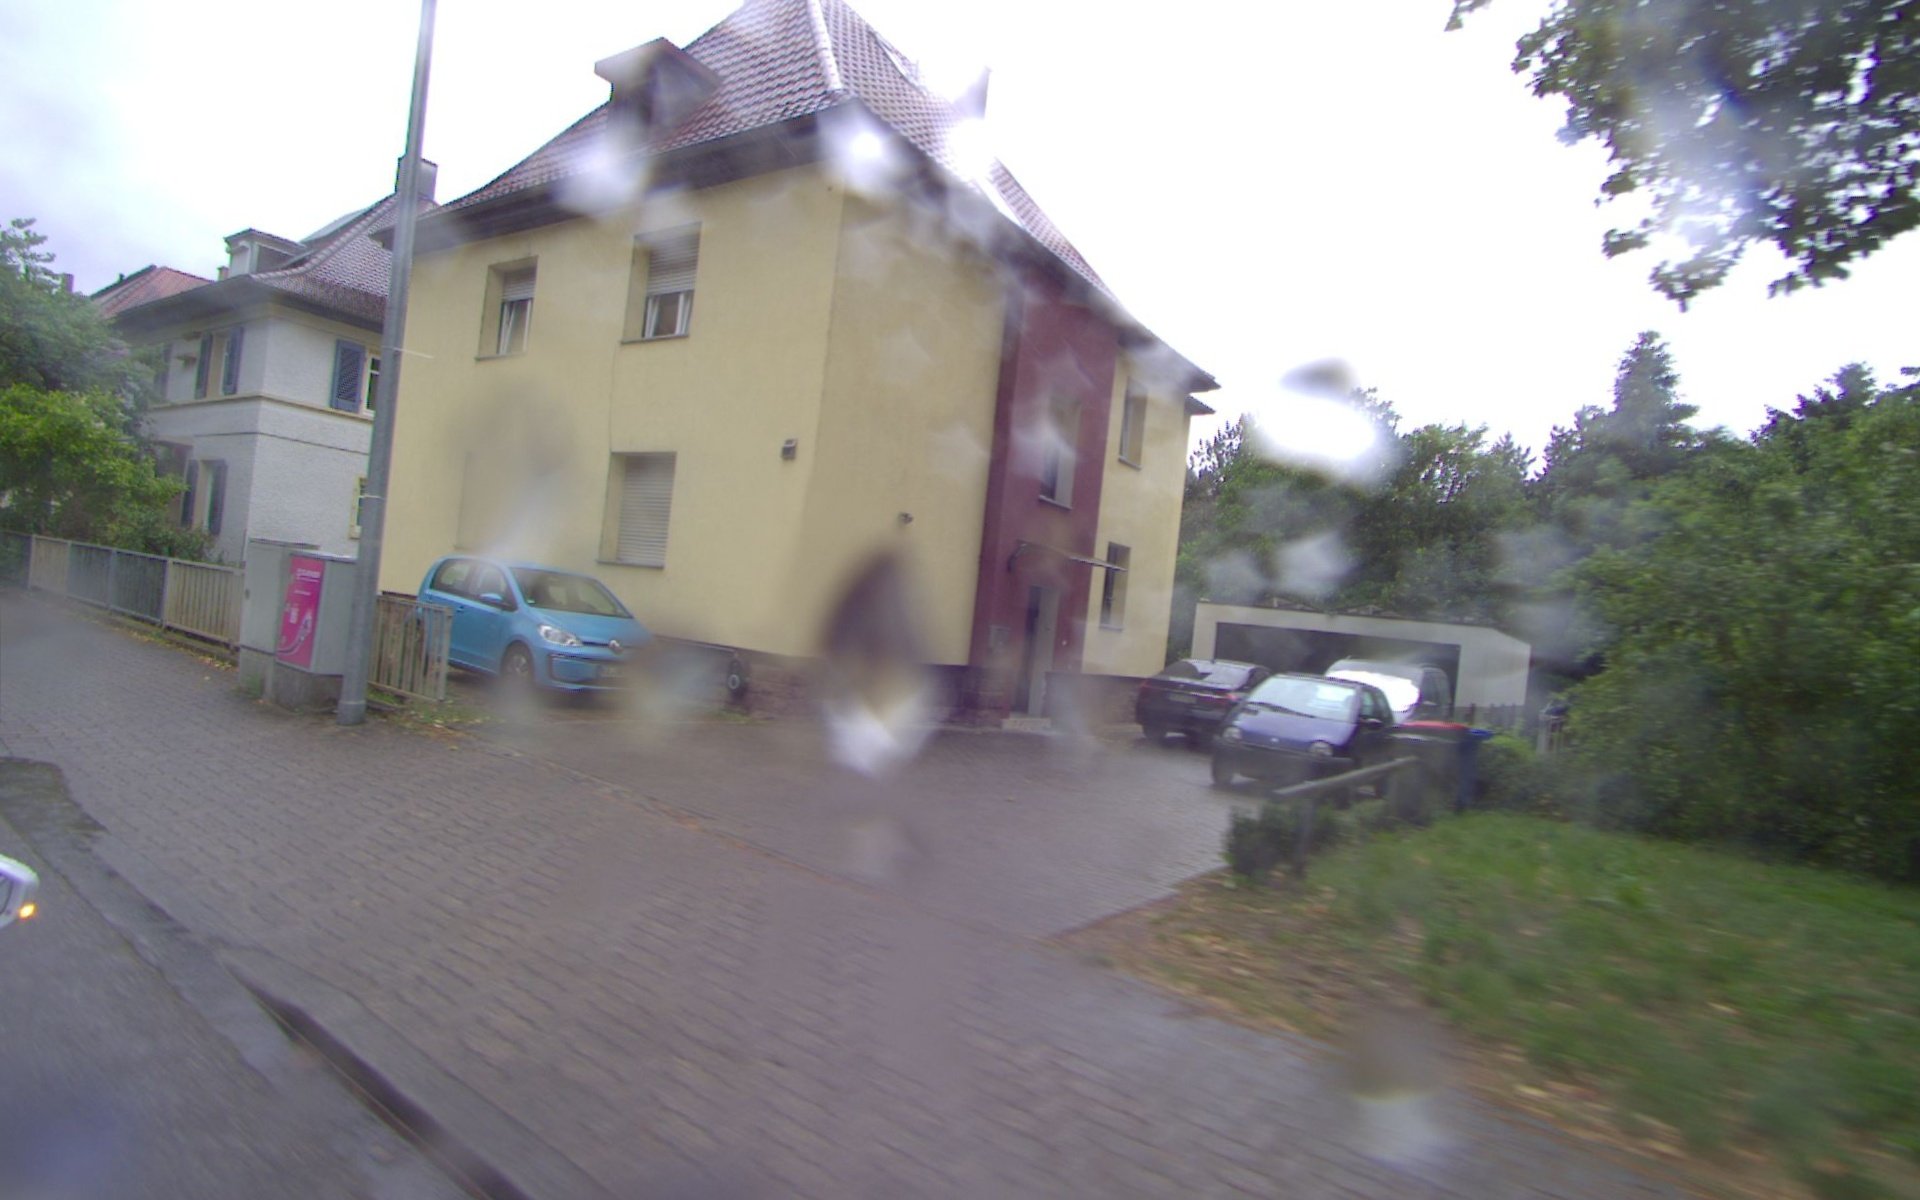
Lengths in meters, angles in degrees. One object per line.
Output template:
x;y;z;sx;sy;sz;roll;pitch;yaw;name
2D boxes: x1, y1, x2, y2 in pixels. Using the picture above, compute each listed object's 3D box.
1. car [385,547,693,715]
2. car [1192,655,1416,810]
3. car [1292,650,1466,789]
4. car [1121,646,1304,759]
-4.909;0.319;11.576;3.473;1.488;1.669;6;-2;38;car
4.351;1.590;12.433;1.649;1.463;3.334;6;-2;35;car
7.090;1.918;16.755;1.648;1.817;4.345;6;-1;35;car
4.455;1.775;17.416;1.819;1.527;3.517;7;-2;35;car
